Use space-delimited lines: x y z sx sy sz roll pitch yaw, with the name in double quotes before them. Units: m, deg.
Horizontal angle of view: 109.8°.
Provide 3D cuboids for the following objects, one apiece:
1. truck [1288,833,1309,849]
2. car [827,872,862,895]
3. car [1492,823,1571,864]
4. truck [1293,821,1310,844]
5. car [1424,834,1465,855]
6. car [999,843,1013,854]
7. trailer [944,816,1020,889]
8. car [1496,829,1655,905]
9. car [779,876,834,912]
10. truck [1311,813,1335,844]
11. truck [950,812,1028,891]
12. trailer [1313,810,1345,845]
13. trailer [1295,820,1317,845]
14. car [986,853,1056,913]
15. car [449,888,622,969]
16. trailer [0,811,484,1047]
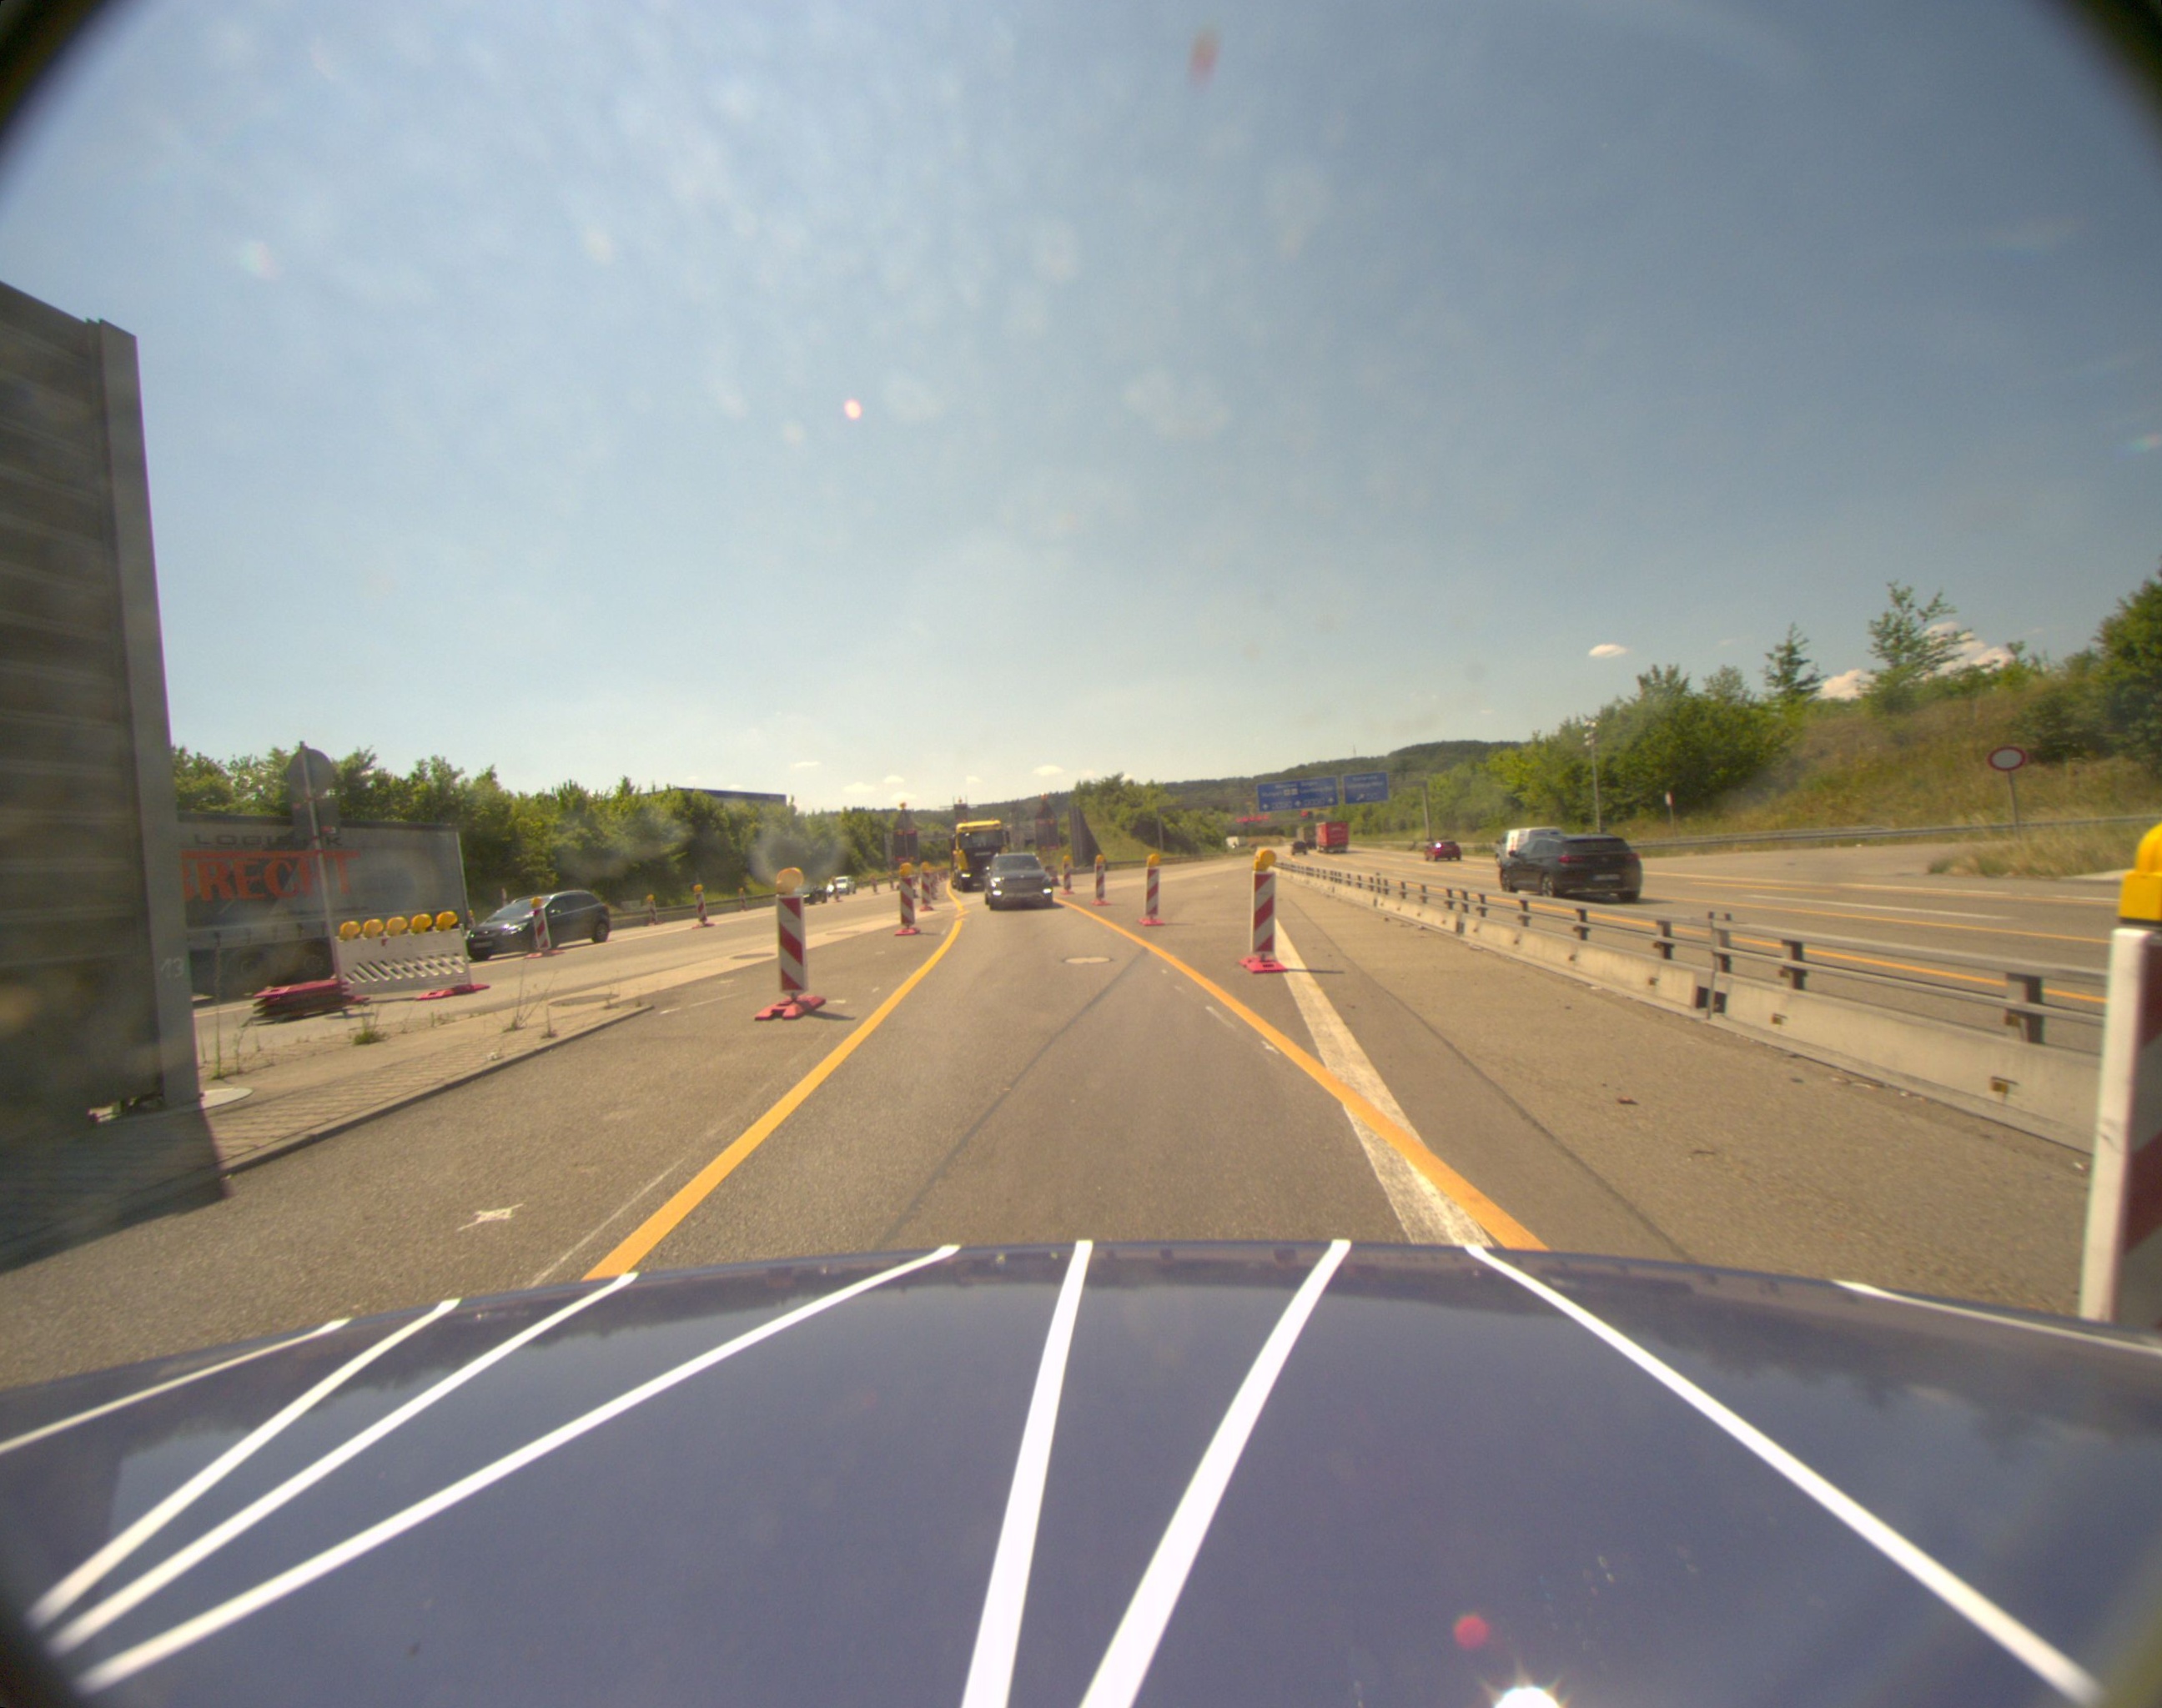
"truck" 28.636 -1.700 100.251 1.997 1.862 4.764 -4 0 9
"car" -20.973 2.583 67.540 1.820 1.686 4.491 -6 1 -4
"car" 21.761 -0.536 36.945 1.690 1.824 4.790 -2 1 10
"truck" 42.842 -4.124 147.529 2.436 4.245 4.841 -4 1 11
"car" 25.351 -0.691 53.136 1.690 1.387 4.003 -2 1 13
"car" -15.683 -1.141 159.487 2.442 2.081 5.304 -7 2 -4
"trailer" -6.937 0.093 50.005 3.239 3.646 17.406 -7 0 -12
"car" 11.762 0.255 18.428 1.745 1.584 4.231 -2 1 11
"car" -16.599 2.357 46.200 1.820 1.686 4.491 -7 1 -4
"truck" 33.364 -3.522 104.890 2.338 4.084 5.021 -4 1 12
"truck" -5.190 -0.085 41.597 3.232 3.639 7.077 -7 0 -12
"trailer" 31.867 -3.332 98.070 2.341 4.079 13.270 -4 1 12
"trailer" 41.653 -3.961 141.018 2.440 4.272 13.817 -4 1 11
"car" -2.039 0.858 24.615 1.821 1.685 4.489 -3 0 -9
"car" -15.803 2.085 22.378 1.820 1.686 4.491 -7 1 -3
"trailer" -19.350 1.361 15.868 2.547 3.930 13.865 -7 1 -1
